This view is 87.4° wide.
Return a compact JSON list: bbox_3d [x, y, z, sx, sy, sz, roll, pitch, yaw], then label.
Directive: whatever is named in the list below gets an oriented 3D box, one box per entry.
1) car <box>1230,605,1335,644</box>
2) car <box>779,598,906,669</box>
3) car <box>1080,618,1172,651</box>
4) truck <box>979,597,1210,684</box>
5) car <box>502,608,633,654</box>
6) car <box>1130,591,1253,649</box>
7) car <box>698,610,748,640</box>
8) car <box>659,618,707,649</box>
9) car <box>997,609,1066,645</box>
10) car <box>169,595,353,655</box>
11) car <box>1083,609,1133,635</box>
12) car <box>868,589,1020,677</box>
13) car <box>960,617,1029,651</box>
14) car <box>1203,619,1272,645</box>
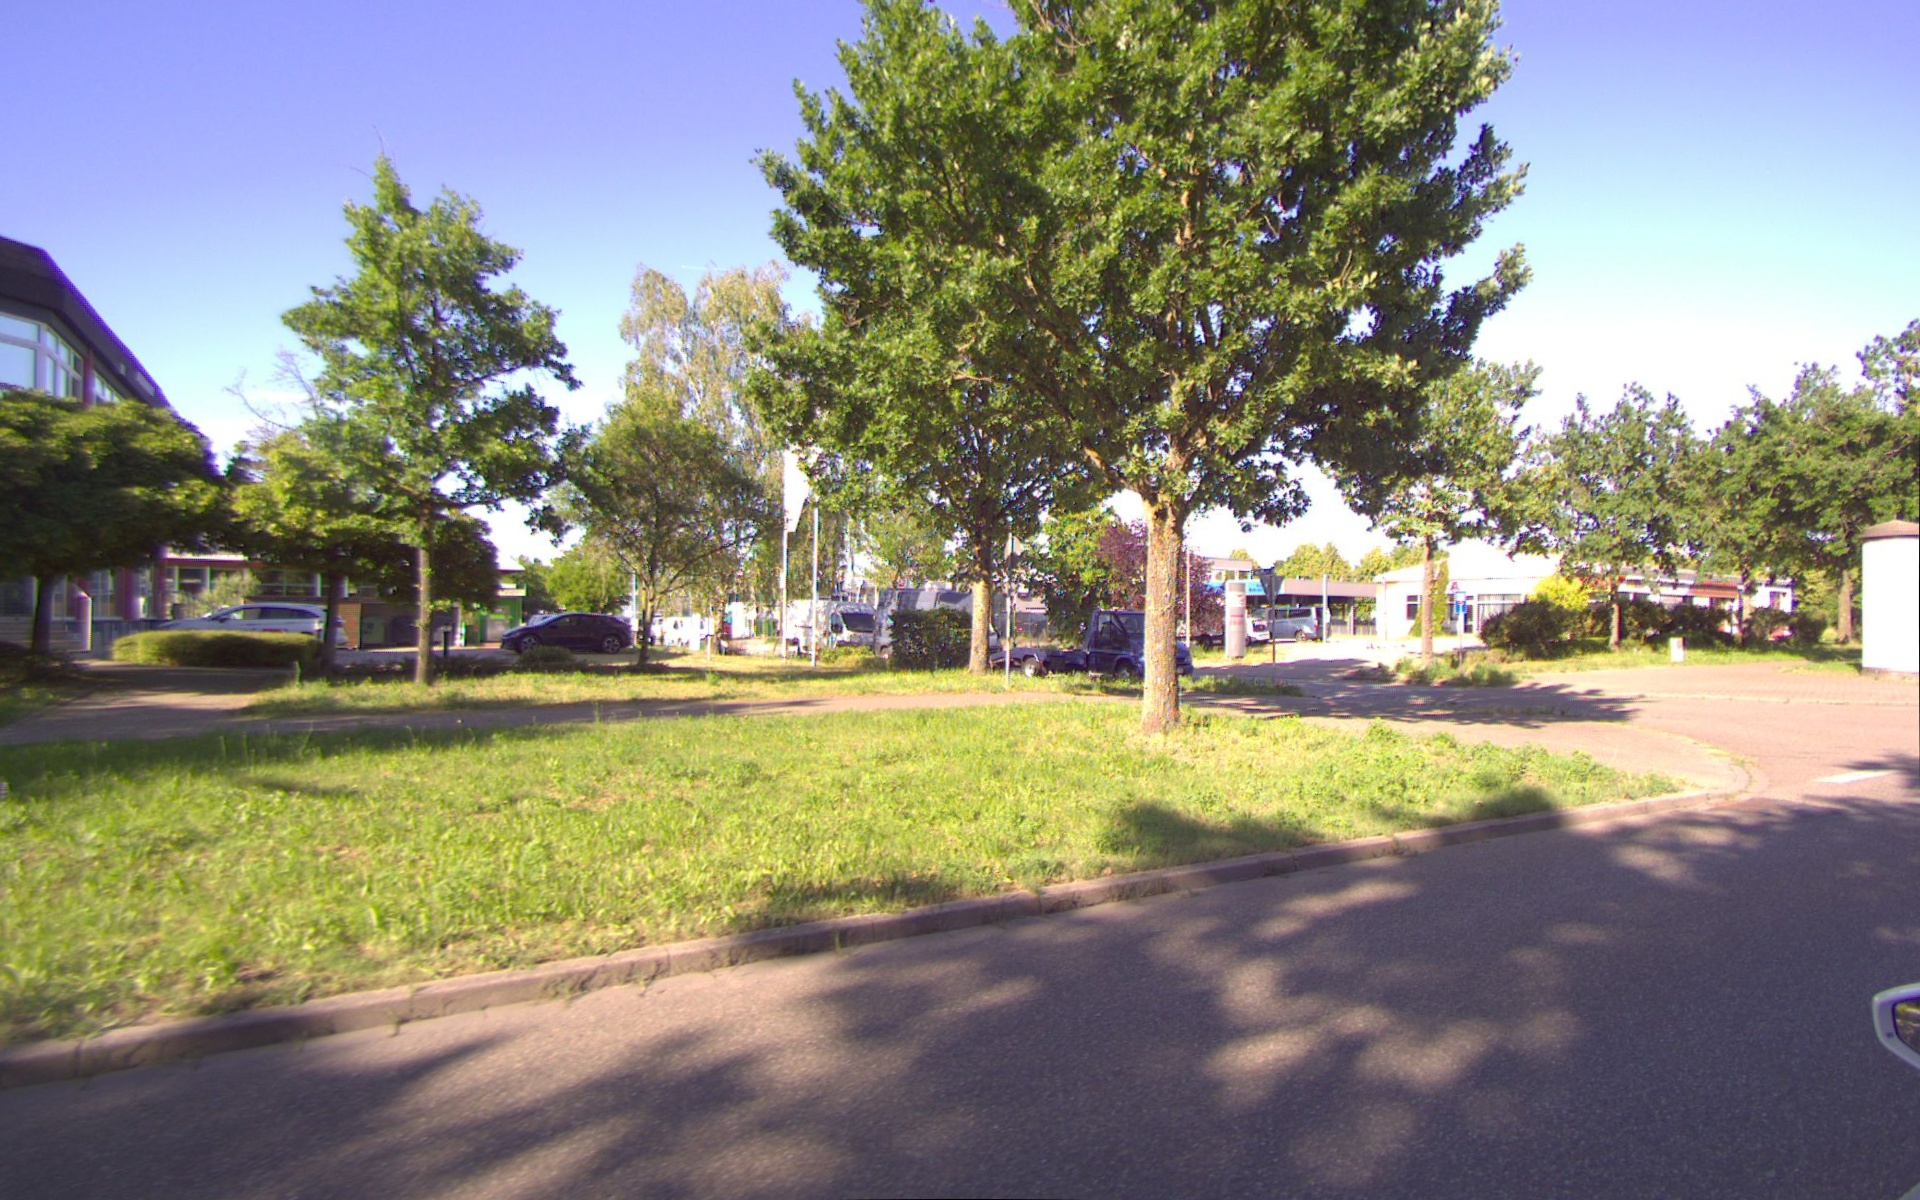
[{"bbox_3d":[17.969,1.359,56.191,2.278,2.097,5.373,1,-1,-35],"label":"car"},{"bbox_3d":[-4.849,1.266,40.336,2.279,2.549,6.295,2,0,-35],"label":"car"},{"bbox_3d":[8.295,1.703,50.460,1.867,1.571,4.615,1,-1,-35],"label":"car"},{"bbox_3d":[3.548,1.024,28.318,2.121,2.077,7.059,2,0,-37],"label":"truck"},{"bbox_3d":[-14.769,1.175,37.885,4.254,1.514,1.982,4,-1,-33],"label":"car"},{"bbox_3d":[11.701,0.984,51.261,2.279,2.738,6.118,2,0,-35],"label":"car"},{"bbox_3d":[-18.682,1.952,79.029,2.183,2.132,4.895,2,0,-35],"label":"car"},{"bbox_3d":[-15.187,1.819,54.961,1.497,1.594,3.109,1,-1,-38],"label":"car"},{"bbox_3d":[4.243,1.599,60.219,1.867,1.992,4.210,2,0,-35],"label":"car"},{"bbox_3d":[-20.443,0.738,29.612,4.254,1.514,1.982,4,-1,-33],"label":"car"},{"bbox_3d":[12.038,1.808,81.763,1.865,2.040,3.963,1,-1,-33],"label":"car"},{"bbox_3d":[-0.679,1.029,34.485,2.279,2.738,5.822,2,0,-35],"label":"car"},{"bbox_3d":[1.984,1.948,58.911,1.867,1.910,4.210,1,-1,-35],"label":"car"},{"bbox_3d":[15.173,1.741,55.044,1.559,1.319,3.500,1,-1,-35],"label":"car"}]
